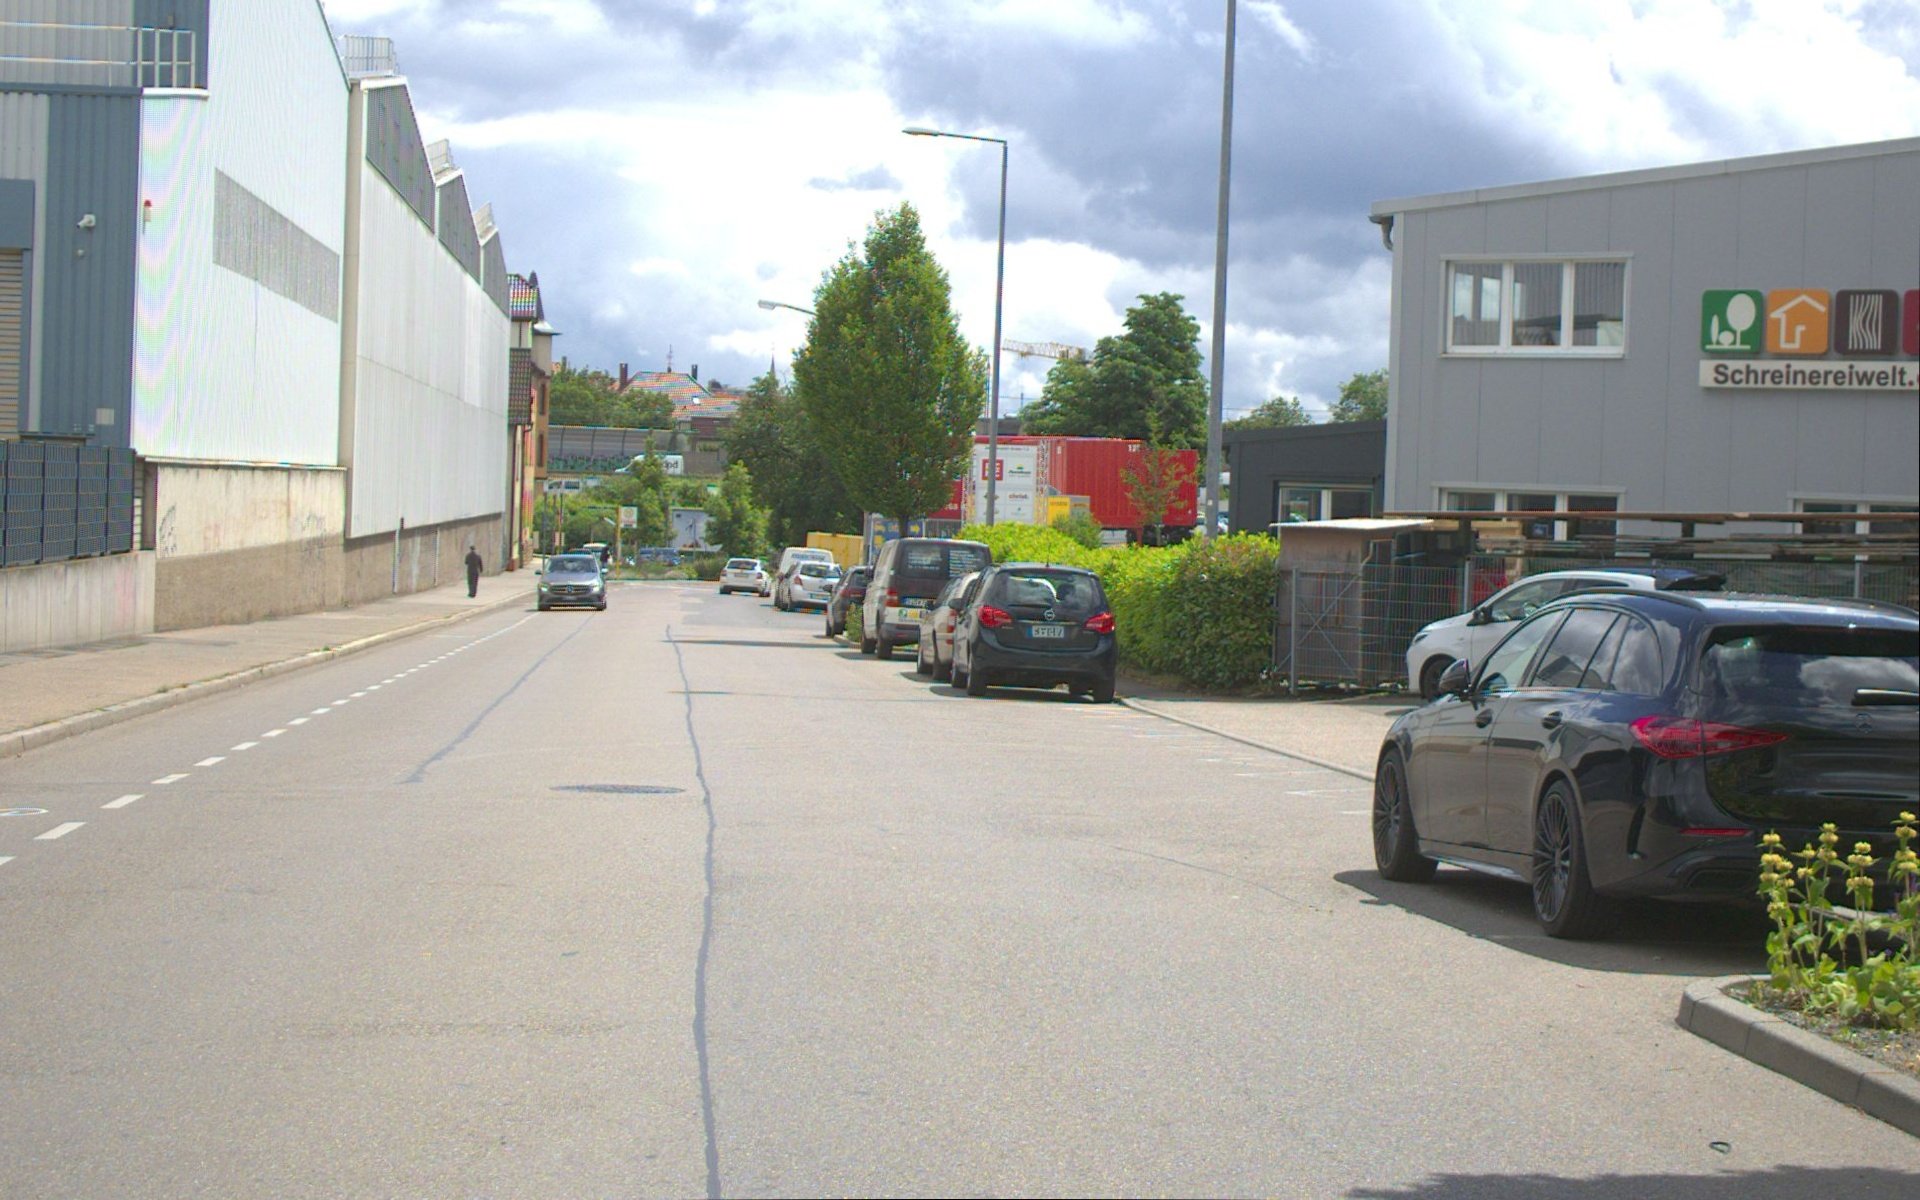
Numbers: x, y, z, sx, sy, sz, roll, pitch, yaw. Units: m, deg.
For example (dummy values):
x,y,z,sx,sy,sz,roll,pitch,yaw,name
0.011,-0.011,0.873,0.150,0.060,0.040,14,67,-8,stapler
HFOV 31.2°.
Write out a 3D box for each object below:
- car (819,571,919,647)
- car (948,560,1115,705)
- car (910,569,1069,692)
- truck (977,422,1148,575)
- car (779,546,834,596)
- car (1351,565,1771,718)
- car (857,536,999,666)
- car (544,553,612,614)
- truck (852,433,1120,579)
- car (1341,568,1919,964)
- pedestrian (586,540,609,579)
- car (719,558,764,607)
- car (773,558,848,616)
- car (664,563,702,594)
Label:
x,y,z,sx,sy,sz,roll,pitch,yaw,name
-1.889,0.160,70.222,1.714,1.468,4.512,2,0,-5,car
0.816,0.364,41.746,1.679,1.632,4.123,2,0,-3,car
0.346,0.375,46.713,1.655,1.535,4.735,2,0,-5,car
3.148,-3.101,108.244,2.573,4.434,7.864,2,-1,-20,truck
-4.990,-0.938,111.370,1.701,1.522,3.738,2,0,-3,car
6.210,0.410,35.853,1.720,1.457,4.073,-3,1,-43,car
-0.582,-0.008,56.594,1.869,1.983,5.145,2,0,-5,car
-10.425,-0.438,94.021,1.719,1.550,4.288,-2,0,-5,car
0.881,-3.137,114.886,8.456,4.655,2.580,1,-1,16,truck
3.107,0.622,15.274,1.791,1.461,4.709,2,0,-6,car
-15.831,-1.766,150.103,0.853,1.657,0.860,2,-1,0,pedestrian
-8.386,-0.662,131.843,1.566,1.780,3.606,2,-1,-5,car
-4.399,-0.403,100.493,1.701,1.522,3.739,4,0,-9,car
-14.402,-1.101,178.797,1.852,1.481,4.000,2,-1,-5,car
